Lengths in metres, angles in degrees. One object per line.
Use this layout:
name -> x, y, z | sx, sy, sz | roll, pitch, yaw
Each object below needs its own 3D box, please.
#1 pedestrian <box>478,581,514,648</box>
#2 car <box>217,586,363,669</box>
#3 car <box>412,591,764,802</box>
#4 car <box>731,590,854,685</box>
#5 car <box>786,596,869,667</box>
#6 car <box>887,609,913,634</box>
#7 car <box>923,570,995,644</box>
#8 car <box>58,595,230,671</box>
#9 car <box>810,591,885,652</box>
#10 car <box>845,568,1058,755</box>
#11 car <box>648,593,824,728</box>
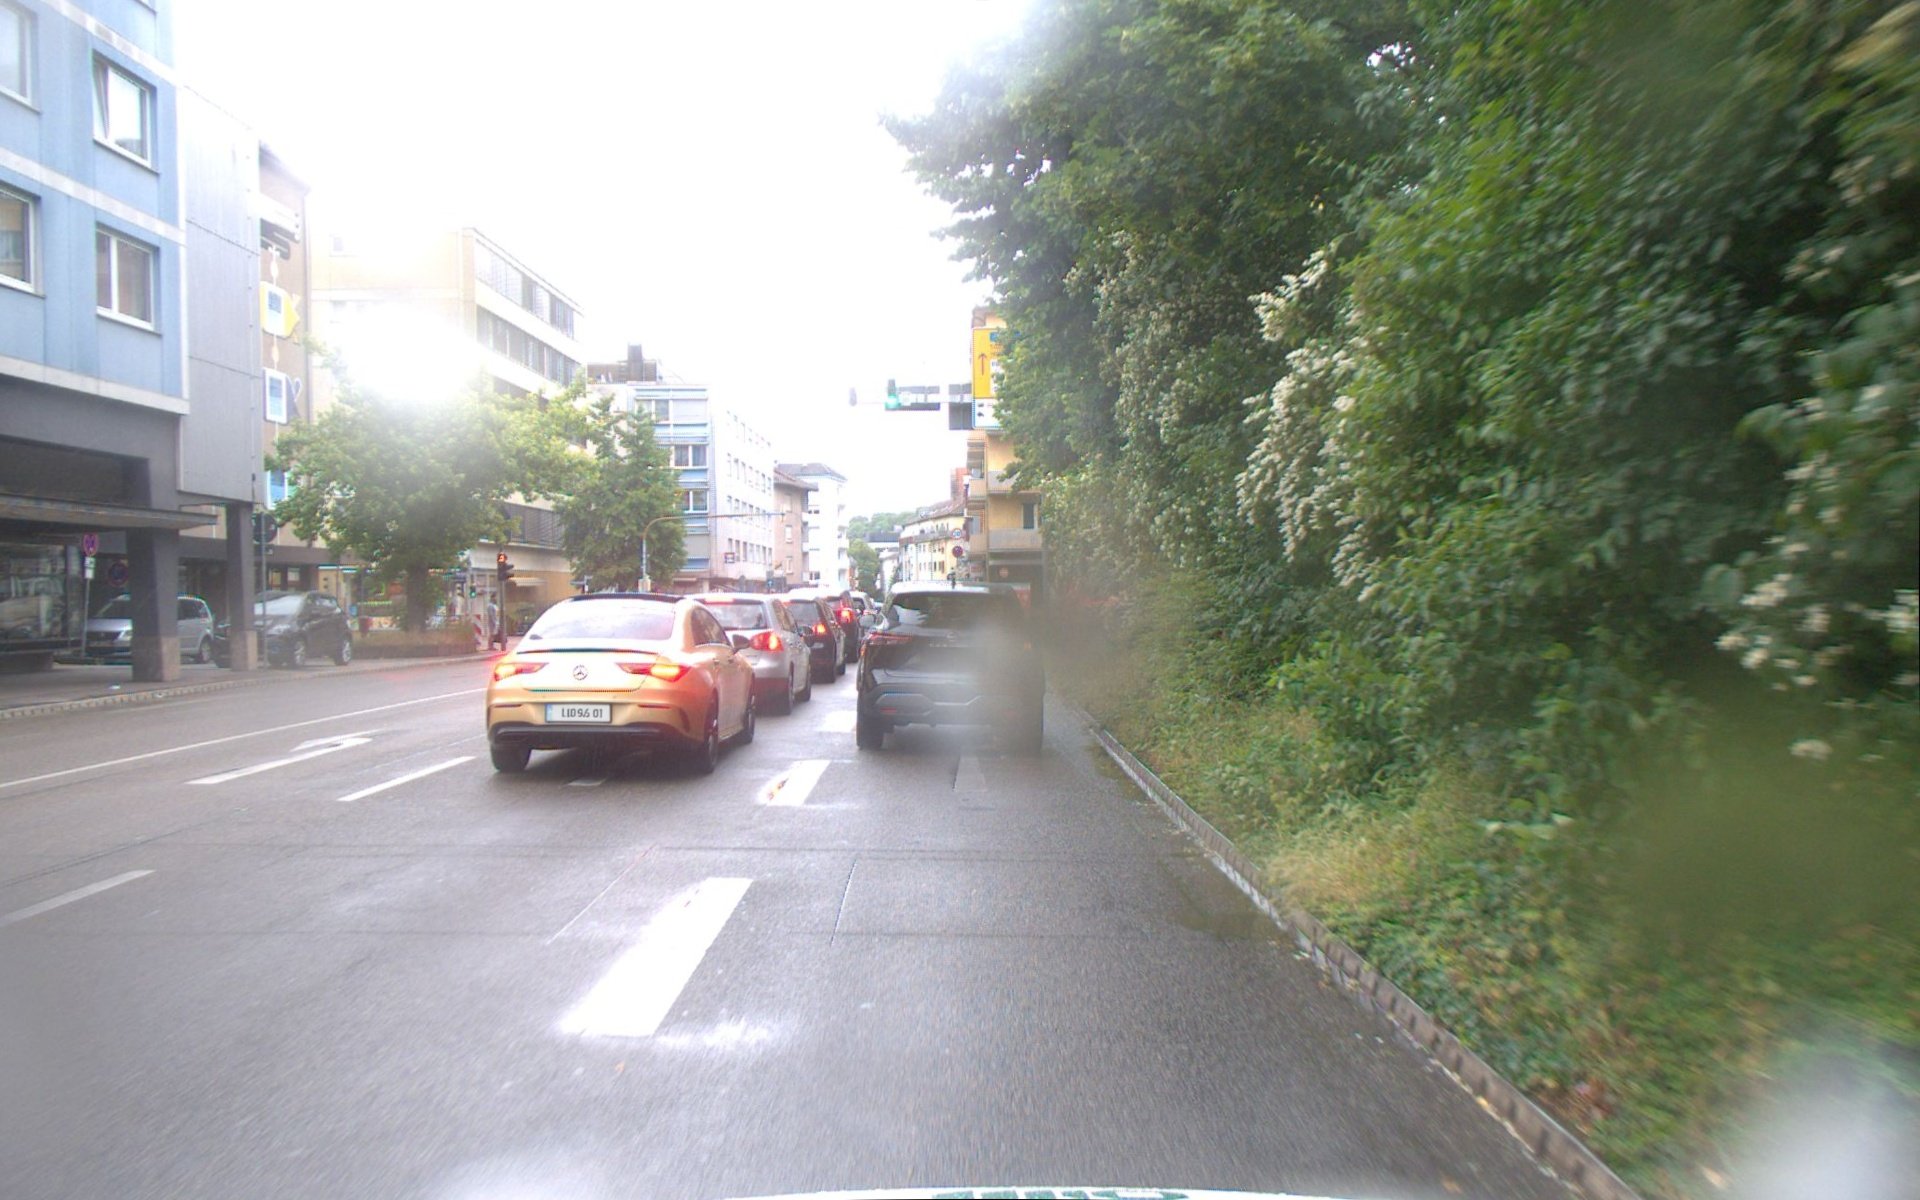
pedestrian -> -14.545, 0.438, 51.891 | 0.923, 2.049, 0.884 | -2, 0, -10
car -> -14.710, 0.560, 36.552 | 1.508, 1.735, 4.287 | 0, 0, 0
car -> -3.016, 0.696, 14.496 | 2.024, 1.489, 4.586 | -1, 1, 0
car -> -2.812, 0.591, 28.541 | 1.720, 1.478, 4.000 | -1, 1, -1
car -> -2.876, 0.650, 36.543 | 1.580, 1.445, 3.966 | 0, 1, -1
car -> -5.296, 1.873, 145.584 | 1.952, 2.048, 4.001 | -3, 0, 1
car -> -0.059, 0.172, 48.239 | 1.953, 2.049, 3.999 | -1, 1, -1
car -> -19.514, 0.746, 39.799 | 1.953, 1.683, 4.510 | -1, 0, -1
car -> -2.904, 0.523, 43.415 | 1.731, 1.469, 3.999 | -1, 1, -1
car -> -0.126, 0.534, 16.922 | 1.920, 1.681, 3.999 | 0, 1, -2
car -> -2.761, 0.687, 21.226 | 1.708, 1.513, 4.161 | -1, 0, -1
